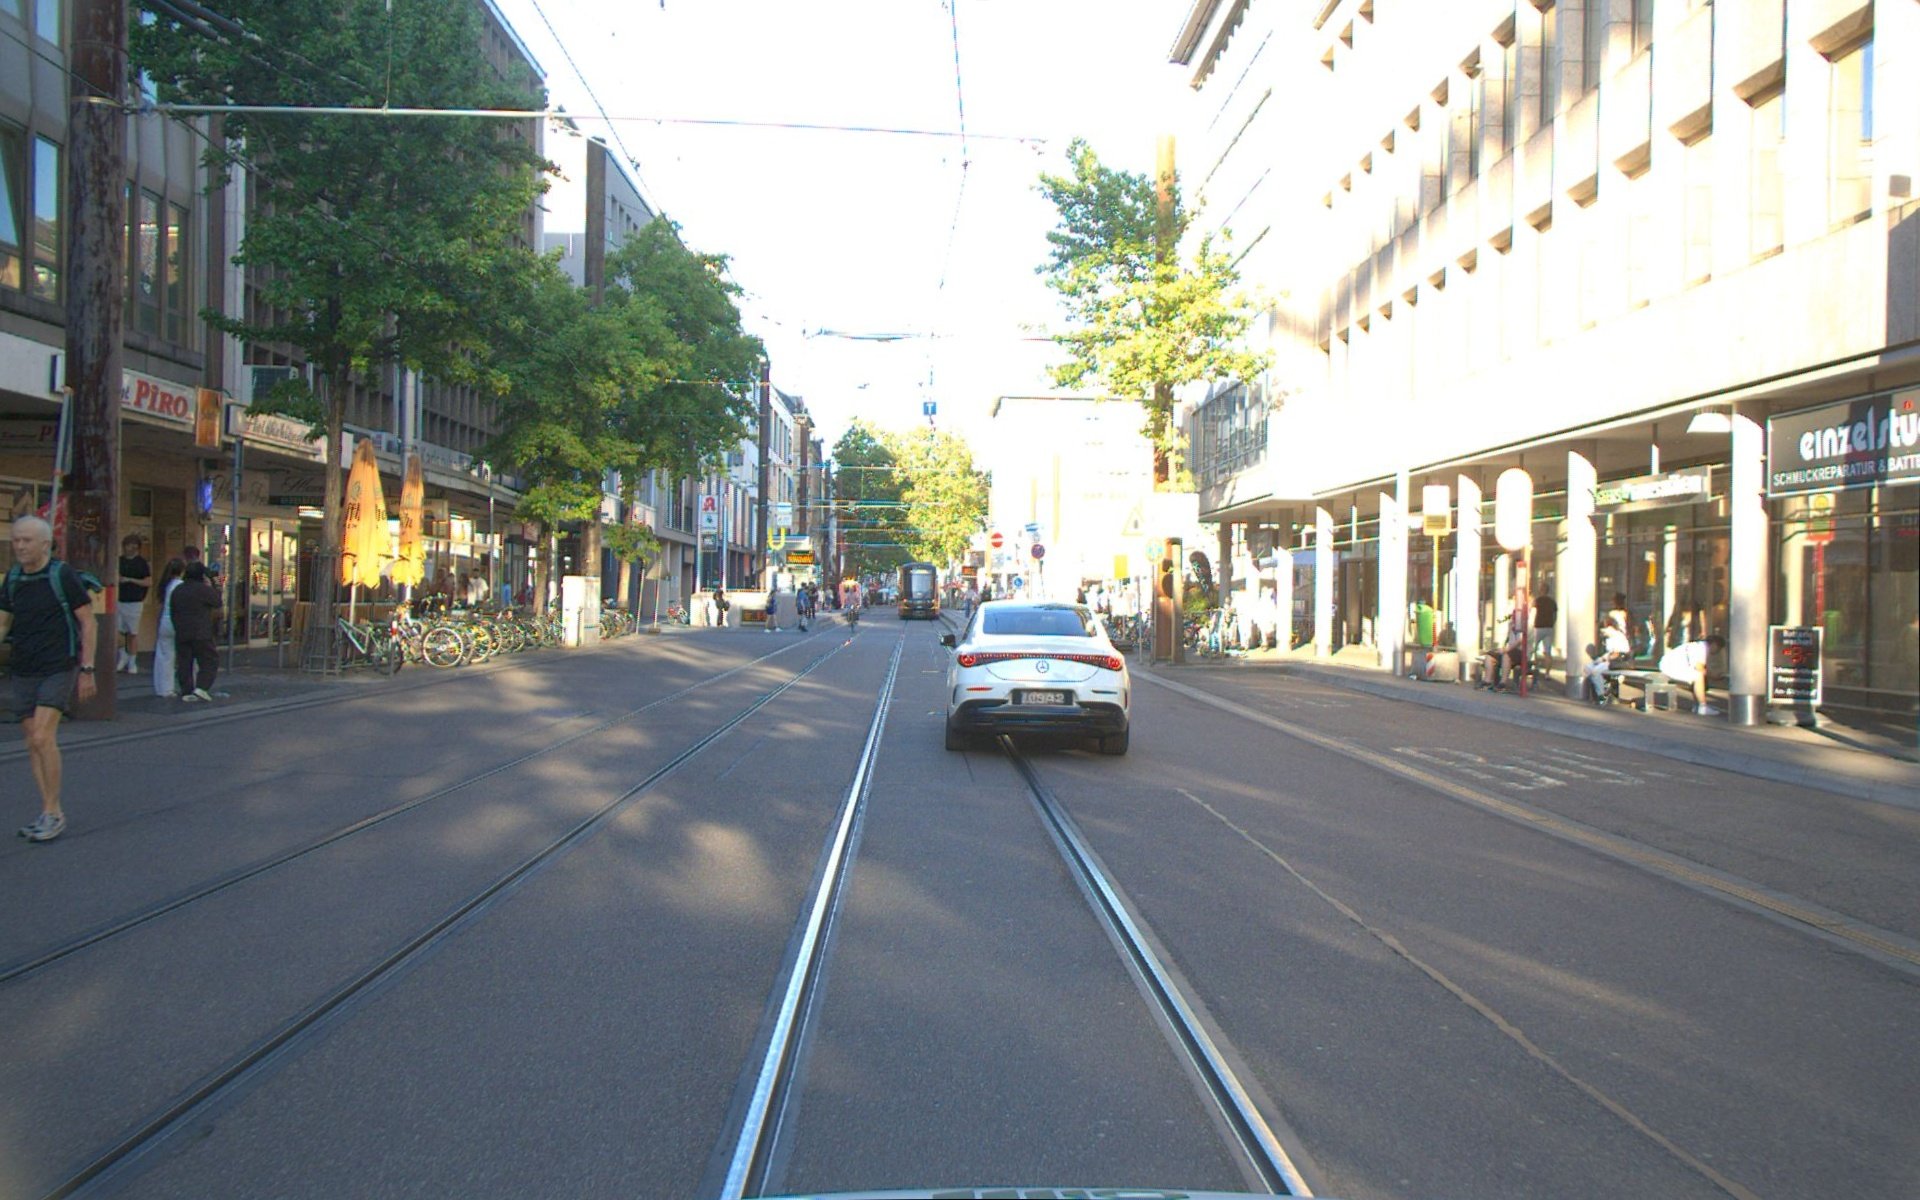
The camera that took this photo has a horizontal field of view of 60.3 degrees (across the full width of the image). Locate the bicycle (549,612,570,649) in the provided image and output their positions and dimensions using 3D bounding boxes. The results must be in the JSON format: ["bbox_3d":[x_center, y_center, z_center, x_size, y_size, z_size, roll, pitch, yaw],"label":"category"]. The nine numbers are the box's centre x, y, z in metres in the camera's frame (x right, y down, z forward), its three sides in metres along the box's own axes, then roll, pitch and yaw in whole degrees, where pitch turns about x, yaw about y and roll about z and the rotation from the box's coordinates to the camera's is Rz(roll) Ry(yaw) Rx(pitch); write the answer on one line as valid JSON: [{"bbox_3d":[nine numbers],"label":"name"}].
[{"bbox_3d":[-9.301,0.695,38.389,0.337,0.797,1.402,2,0,-9],"label":"bicycle"}]

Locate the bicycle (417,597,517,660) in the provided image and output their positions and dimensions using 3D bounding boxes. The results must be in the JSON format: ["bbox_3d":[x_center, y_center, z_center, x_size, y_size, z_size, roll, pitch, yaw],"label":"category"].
[{"bbox_3d":[-9.661,0.558,32.405,1.809,1.160,0.377,2,0,-1],"label":"bicycle"}]

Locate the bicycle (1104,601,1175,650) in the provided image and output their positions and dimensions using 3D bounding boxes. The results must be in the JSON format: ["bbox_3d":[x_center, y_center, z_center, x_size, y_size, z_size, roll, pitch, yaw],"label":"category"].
[{"bbox_3d":[5.025,0.712,46.330,1.875,1.303,0.608,-1,0,-13],"label":"bicycle"}]

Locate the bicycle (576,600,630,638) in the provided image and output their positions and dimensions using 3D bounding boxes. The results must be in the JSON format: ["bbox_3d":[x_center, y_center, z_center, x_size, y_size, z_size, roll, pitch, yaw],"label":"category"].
[{"bbox_3d":[-10.168,0.528,47.097,1.466,1.027,0.343,2,0,-12],"label":"bicycle"}]

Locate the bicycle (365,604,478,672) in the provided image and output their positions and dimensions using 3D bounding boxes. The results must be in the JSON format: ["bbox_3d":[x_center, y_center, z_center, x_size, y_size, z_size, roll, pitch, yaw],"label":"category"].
[{"bbox_3d":[-9.148,0.647,28.126,1.754,1.096,0.376,2,0,-6],"label":"bicycle"}]

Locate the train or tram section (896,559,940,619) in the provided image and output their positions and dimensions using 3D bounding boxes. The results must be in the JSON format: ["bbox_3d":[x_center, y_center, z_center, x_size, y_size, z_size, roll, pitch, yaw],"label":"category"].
[{"bbox_3d":[-2.705,-0.696,106.653,2.640,3.578,12.541,0,0,-2],"label":"train or tram section"}]

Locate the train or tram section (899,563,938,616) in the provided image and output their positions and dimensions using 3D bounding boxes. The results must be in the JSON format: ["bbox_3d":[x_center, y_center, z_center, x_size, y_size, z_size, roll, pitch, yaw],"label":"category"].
[{"bbox_3d":[-3.025,-0.756,119.198,2.640,3.578,12.541,0,0,-2],"label":"train or tram section"}]

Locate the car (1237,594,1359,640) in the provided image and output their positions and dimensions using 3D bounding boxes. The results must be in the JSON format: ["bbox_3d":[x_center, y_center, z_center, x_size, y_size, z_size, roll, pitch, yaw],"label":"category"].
[{"bbox_3d":[11.365,0.575,55.703,3.729,1.499,1.647,0,0,-7],"label":"car"}]

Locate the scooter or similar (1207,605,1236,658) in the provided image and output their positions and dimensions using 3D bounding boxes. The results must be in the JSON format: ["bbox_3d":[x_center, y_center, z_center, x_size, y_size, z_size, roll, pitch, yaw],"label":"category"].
[{"bbox_3d":[6.461,0.776,40.938,0.483,1.299,0.658,-1,0,-13],"label":"scooter or similar"}]

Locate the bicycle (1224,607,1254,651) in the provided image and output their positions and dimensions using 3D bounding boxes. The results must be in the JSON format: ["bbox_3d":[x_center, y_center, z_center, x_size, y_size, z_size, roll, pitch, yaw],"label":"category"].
[{"bbox_3d":[7.702,0.794,45.739,0.553,1.147,1.930,-1,0,2],"label":"bicycle"}]

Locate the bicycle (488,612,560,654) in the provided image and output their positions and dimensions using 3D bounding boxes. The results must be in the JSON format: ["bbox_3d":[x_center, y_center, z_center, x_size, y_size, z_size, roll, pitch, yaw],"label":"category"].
[{"bbox_3d":[-9.503,0.710,36.049,1.462,0.855,0.344,2,0,-1],"label":"bicycle"}]

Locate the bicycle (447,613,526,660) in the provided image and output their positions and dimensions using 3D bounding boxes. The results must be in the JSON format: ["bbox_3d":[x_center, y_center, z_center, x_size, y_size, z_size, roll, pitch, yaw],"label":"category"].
[{"bbox_3d":[-9.618,0.744,33.625,1.464,0.892,0.344,2,0,-8],"label":"bicycle"}]

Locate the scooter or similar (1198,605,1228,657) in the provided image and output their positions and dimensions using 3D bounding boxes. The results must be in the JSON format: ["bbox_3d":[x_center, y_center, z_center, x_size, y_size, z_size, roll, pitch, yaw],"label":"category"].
[{"bbox_3d":[6.339,0.772,41.450,0.518,1.299,0.658,-1,0,-13],"label":"scooter or similar"}]

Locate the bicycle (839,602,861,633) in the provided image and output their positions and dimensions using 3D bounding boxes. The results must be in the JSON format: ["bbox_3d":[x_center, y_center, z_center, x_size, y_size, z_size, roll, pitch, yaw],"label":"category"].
[{"bbox_3d":[-4.394,0.684,66.082,0.784,1.162,2.256,2,0,-3],"label":"bicycle"}]

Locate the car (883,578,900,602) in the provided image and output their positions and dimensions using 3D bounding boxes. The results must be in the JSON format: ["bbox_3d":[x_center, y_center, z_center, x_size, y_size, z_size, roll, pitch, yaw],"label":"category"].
[{"bbox_3d":[-8.578,-1.241,207.782,2.056,2.948,5.273,0,0,-1],"label":"car"}]

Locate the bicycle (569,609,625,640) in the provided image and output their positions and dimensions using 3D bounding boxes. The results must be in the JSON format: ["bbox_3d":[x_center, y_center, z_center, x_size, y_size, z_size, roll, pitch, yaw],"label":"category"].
[{"bbox_3d":[-10.042,0.671,45.773,1.462,0.797,0.344,2,0,-1],"label":"bicycle"}]

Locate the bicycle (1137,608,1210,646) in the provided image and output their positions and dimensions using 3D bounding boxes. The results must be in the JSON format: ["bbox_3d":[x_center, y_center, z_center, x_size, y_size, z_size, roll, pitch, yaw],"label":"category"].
[{"bbox_3d":[6.288,0.796,48.687,2.078,1.115,0.607,0,0,-15],"label":"bicycle"}]

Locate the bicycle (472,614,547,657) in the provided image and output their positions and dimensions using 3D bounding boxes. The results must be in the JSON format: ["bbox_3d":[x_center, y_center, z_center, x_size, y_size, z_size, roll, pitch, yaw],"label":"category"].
[{"bbox_3d":[-9.632,0.751,35.379,1.462,0.855,0.344,2,0,-1],"label":"bicycle"}]

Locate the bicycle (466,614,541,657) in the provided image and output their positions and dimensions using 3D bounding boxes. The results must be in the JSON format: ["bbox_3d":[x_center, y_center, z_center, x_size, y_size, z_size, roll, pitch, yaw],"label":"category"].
[{"bbox_3d":[-9.664,0.749,35.009,1.462,0.855,0.344,2,0,-1],"label":"bicycle"}]

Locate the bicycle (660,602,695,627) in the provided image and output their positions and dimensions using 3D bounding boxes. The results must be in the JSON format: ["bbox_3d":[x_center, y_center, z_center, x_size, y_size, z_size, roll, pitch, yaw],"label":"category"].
[{"bbox_3d":[-11.720,0.588,68.687,0.703,1.027,2.041,0,0,12],"label":"bicycle"}]

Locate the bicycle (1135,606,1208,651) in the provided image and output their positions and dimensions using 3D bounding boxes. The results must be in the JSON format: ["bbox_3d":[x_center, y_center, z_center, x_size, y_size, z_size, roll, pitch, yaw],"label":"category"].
[{"bbox_3d":[5.813,0.773,45.477,1.875,1.177,0.608,-1,0,-13],"label":"bicycle"}]

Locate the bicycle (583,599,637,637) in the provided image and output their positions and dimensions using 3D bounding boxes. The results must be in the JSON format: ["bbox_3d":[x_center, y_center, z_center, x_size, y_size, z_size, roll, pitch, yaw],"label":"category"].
[{"bbox_3d":[-10.049,0.525,47.540,1.466,1.047,0.343,2,0,-12],"label":"bicycle"}]

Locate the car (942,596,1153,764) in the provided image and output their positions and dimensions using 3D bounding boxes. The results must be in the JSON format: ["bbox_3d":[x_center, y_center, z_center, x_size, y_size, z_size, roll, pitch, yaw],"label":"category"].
[{"bbox_3d":[0.777,0.726,17.212,1.820,1.481,4.173,2,0,-2],"label":"car"}]

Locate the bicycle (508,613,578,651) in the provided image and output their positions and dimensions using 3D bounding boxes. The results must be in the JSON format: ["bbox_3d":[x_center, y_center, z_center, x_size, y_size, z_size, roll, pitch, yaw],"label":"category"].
[{"bbox_3d":[-9.435,0.717,37.434,1.462,0.797,0.344,2,0,-1],"label":"bicycle"}]

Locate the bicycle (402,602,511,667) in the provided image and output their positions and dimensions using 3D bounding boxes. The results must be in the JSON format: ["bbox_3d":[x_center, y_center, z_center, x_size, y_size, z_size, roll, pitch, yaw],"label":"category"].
[{"bbox_3d":[-9.084,0.617,29.891,1.811,1.096,0.376,2,0,-6],"label":"bicycle"}]

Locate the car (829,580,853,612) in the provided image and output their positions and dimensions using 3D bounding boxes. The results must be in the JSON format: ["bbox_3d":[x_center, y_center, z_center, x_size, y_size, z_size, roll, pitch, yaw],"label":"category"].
[{"bbox_3d":[-11.230,-0.382,156.766,1.953,2.948,5.273,0,0,-1],"label":"car"}]

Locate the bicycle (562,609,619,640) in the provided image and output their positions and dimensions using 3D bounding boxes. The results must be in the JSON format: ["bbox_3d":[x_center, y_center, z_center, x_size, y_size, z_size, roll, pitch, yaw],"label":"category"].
[{"bbox_3d":[-10.152,0.663,45.407,1.462,0.797,0.344,2,0,-1],"label":"bicycle"}]

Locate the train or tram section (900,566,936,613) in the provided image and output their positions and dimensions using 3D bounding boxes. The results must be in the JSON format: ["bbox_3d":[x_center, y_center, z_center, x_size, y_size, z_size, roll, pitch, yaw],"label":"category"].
[{"bbox_3d":[-3.334,-0.808,131.031,2.640,3.578,11.139,0,0,-2],"label":"train or tram section"}]

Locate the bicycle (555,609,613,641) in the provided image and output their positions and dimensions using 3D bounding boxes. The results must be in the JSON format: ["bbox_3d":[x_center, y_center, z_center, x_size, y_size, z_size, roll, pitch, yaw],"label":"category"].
[{"bbox_3d":[-10.148,0.665,44.687,1.462,0.797,0.344,2,0,-1],"label":"bicycle"}]

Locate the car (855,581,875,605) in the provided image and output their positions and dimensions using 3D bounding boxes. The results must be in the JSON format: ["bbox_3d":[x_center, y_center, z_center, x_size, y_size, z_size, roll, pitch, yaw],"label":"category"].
[{"bbox_3d":[-10.097,-0.723,175.682,1.871,2.504,5.273,0,0,-1],"label":"car"}]

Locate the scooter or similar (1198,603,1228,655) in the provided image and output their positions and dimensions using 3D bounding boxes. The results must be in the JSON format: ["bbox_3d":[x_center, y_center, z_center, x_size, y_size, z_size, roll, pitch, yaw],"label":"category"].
[{"bbox_3d":[6.431,0.727,42.018,0.518,1.299,0.658,-1,0,-13],"label":"scooter or similar"}]

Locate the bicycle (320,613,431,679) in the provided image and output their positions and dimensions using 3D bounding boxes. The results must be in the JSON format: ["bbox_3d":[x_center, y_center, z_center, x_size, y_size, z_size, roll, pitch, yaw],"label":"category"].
[{"bbox_3d":[-8.946,0.702,25.324,1.562,0.947,0.377,2,0,5],"label":"bicycle"}]

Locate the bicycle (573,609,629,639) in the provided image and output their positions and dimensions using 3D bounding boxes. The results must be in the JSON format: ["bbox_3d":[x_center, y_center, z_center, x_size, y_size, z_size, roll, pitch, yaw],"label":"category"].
[{"bbox_3d":[-10.019,0.664,46.143,1.462,0.797,0.344,2,0,-1],"label":"bicycle"}]

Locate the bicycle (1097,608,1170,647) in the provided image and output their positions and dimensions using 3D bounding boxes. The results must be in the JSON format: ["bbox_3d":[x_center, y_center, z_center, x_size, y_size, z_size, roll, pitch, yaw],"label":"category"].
[{"bbox_3d":[5.180,0.816,49.320,2.077,1.115,0.608,1,0,-13],"label":"bicycle"}]

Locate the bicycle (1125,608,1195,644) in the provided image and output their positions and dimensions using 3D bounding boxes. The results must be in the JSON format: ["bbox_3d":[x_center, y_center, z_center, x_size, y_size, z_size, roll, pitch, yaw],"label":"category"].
[{"bbox_3d":[6.160,0.797,50.882,2.077,1.115,0.608,0,0,-13],"label":"bicycle"}]

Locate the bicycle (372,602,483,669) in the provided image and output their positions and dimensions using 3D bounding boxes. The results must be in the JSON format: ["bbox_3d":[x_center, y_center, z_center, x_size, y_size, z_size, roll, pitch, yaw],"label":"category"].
[{"bbox_3d":[-9.188,0.609,28.580,1.754,1.096,0.376,2,0,-6],"label":"bicycle"}]

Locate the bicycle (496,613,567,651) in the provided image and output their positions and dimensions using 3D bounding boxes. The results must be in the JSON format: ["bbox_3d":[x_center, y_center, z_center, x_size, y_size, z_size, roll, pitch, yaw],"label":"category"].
[{"bbox_3d":[-9.517,0.713,36.759,1.462,0.797,0.344,2,0,-1],"label":"bicycle"}]

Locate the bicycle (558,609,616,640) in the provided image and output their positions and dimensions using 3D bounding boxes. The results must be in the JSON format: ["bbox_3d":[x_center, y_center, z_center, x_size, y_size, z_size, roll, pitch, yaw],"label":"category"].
[{"bbox_3d":[-10.152,0.665,45.046,1.462,0.797,0.344,2,0,-1],"label":"bicycle"}]
